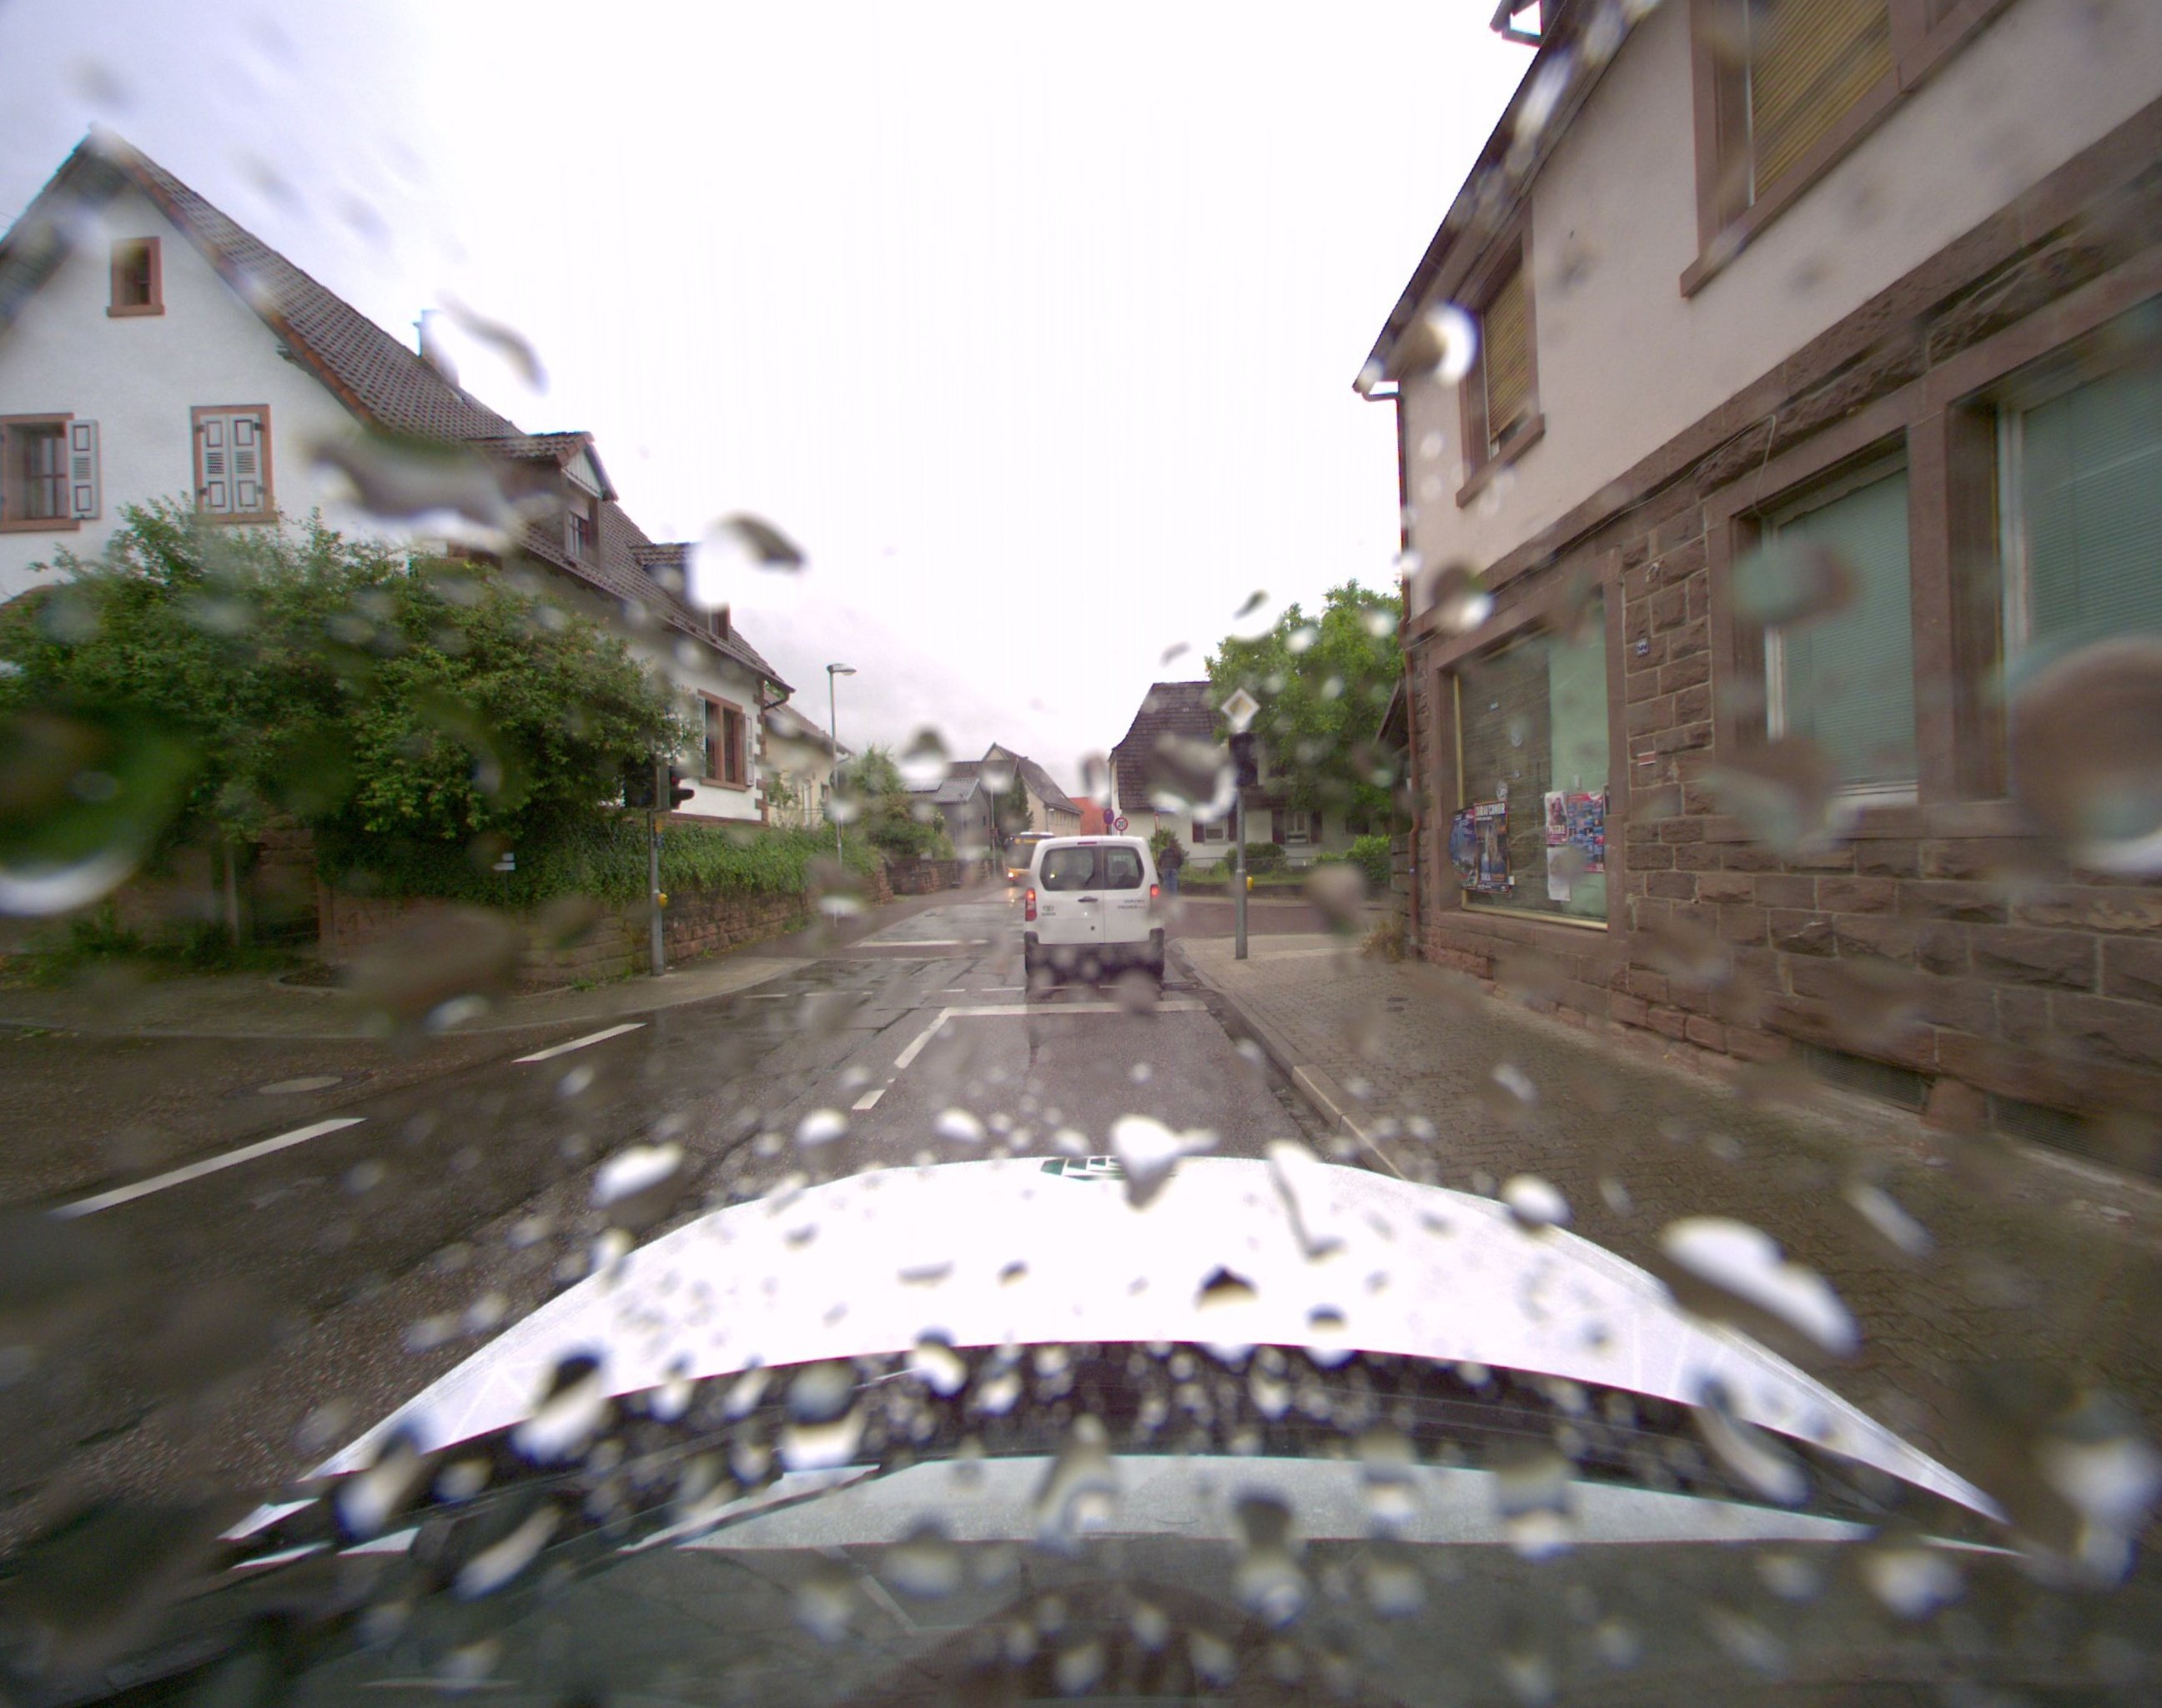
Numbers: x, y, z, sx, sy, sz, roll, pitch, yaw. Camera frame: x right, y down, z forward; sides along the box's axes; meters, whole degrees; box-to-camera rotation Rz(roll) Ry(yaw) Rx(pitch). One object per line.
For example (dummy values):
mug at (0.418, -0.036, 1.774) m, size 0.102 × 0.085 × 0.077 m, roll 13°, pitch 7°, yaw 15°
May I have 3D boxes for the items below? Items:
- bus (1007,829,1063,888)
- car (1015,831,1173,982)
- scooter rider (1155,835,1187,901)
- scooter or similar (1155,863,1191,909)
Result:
bus at (-2.551, 0.069, 48.624) m, size 2.641 × 2.999 × 12.191 m, roll -1°, pitch 1°, yaw 0°
car at (0.168, 0.628, 11.697) m, size 1.888 × 1.794 × 3.813 m, roll -1°, pitch 0°, yaw 0°
scooter rider at (2.420, 0.369, 21.842) m, size 0.730 × 1.733 × 0.517 m, roll -1°, pitch 1°, yaw -9°
scooter or similar at (2.437, 0.824, 21.645) m, size 0.620 × 1.127 × 1.398 m, roll -1°, pitch 1°, yaw -8°
